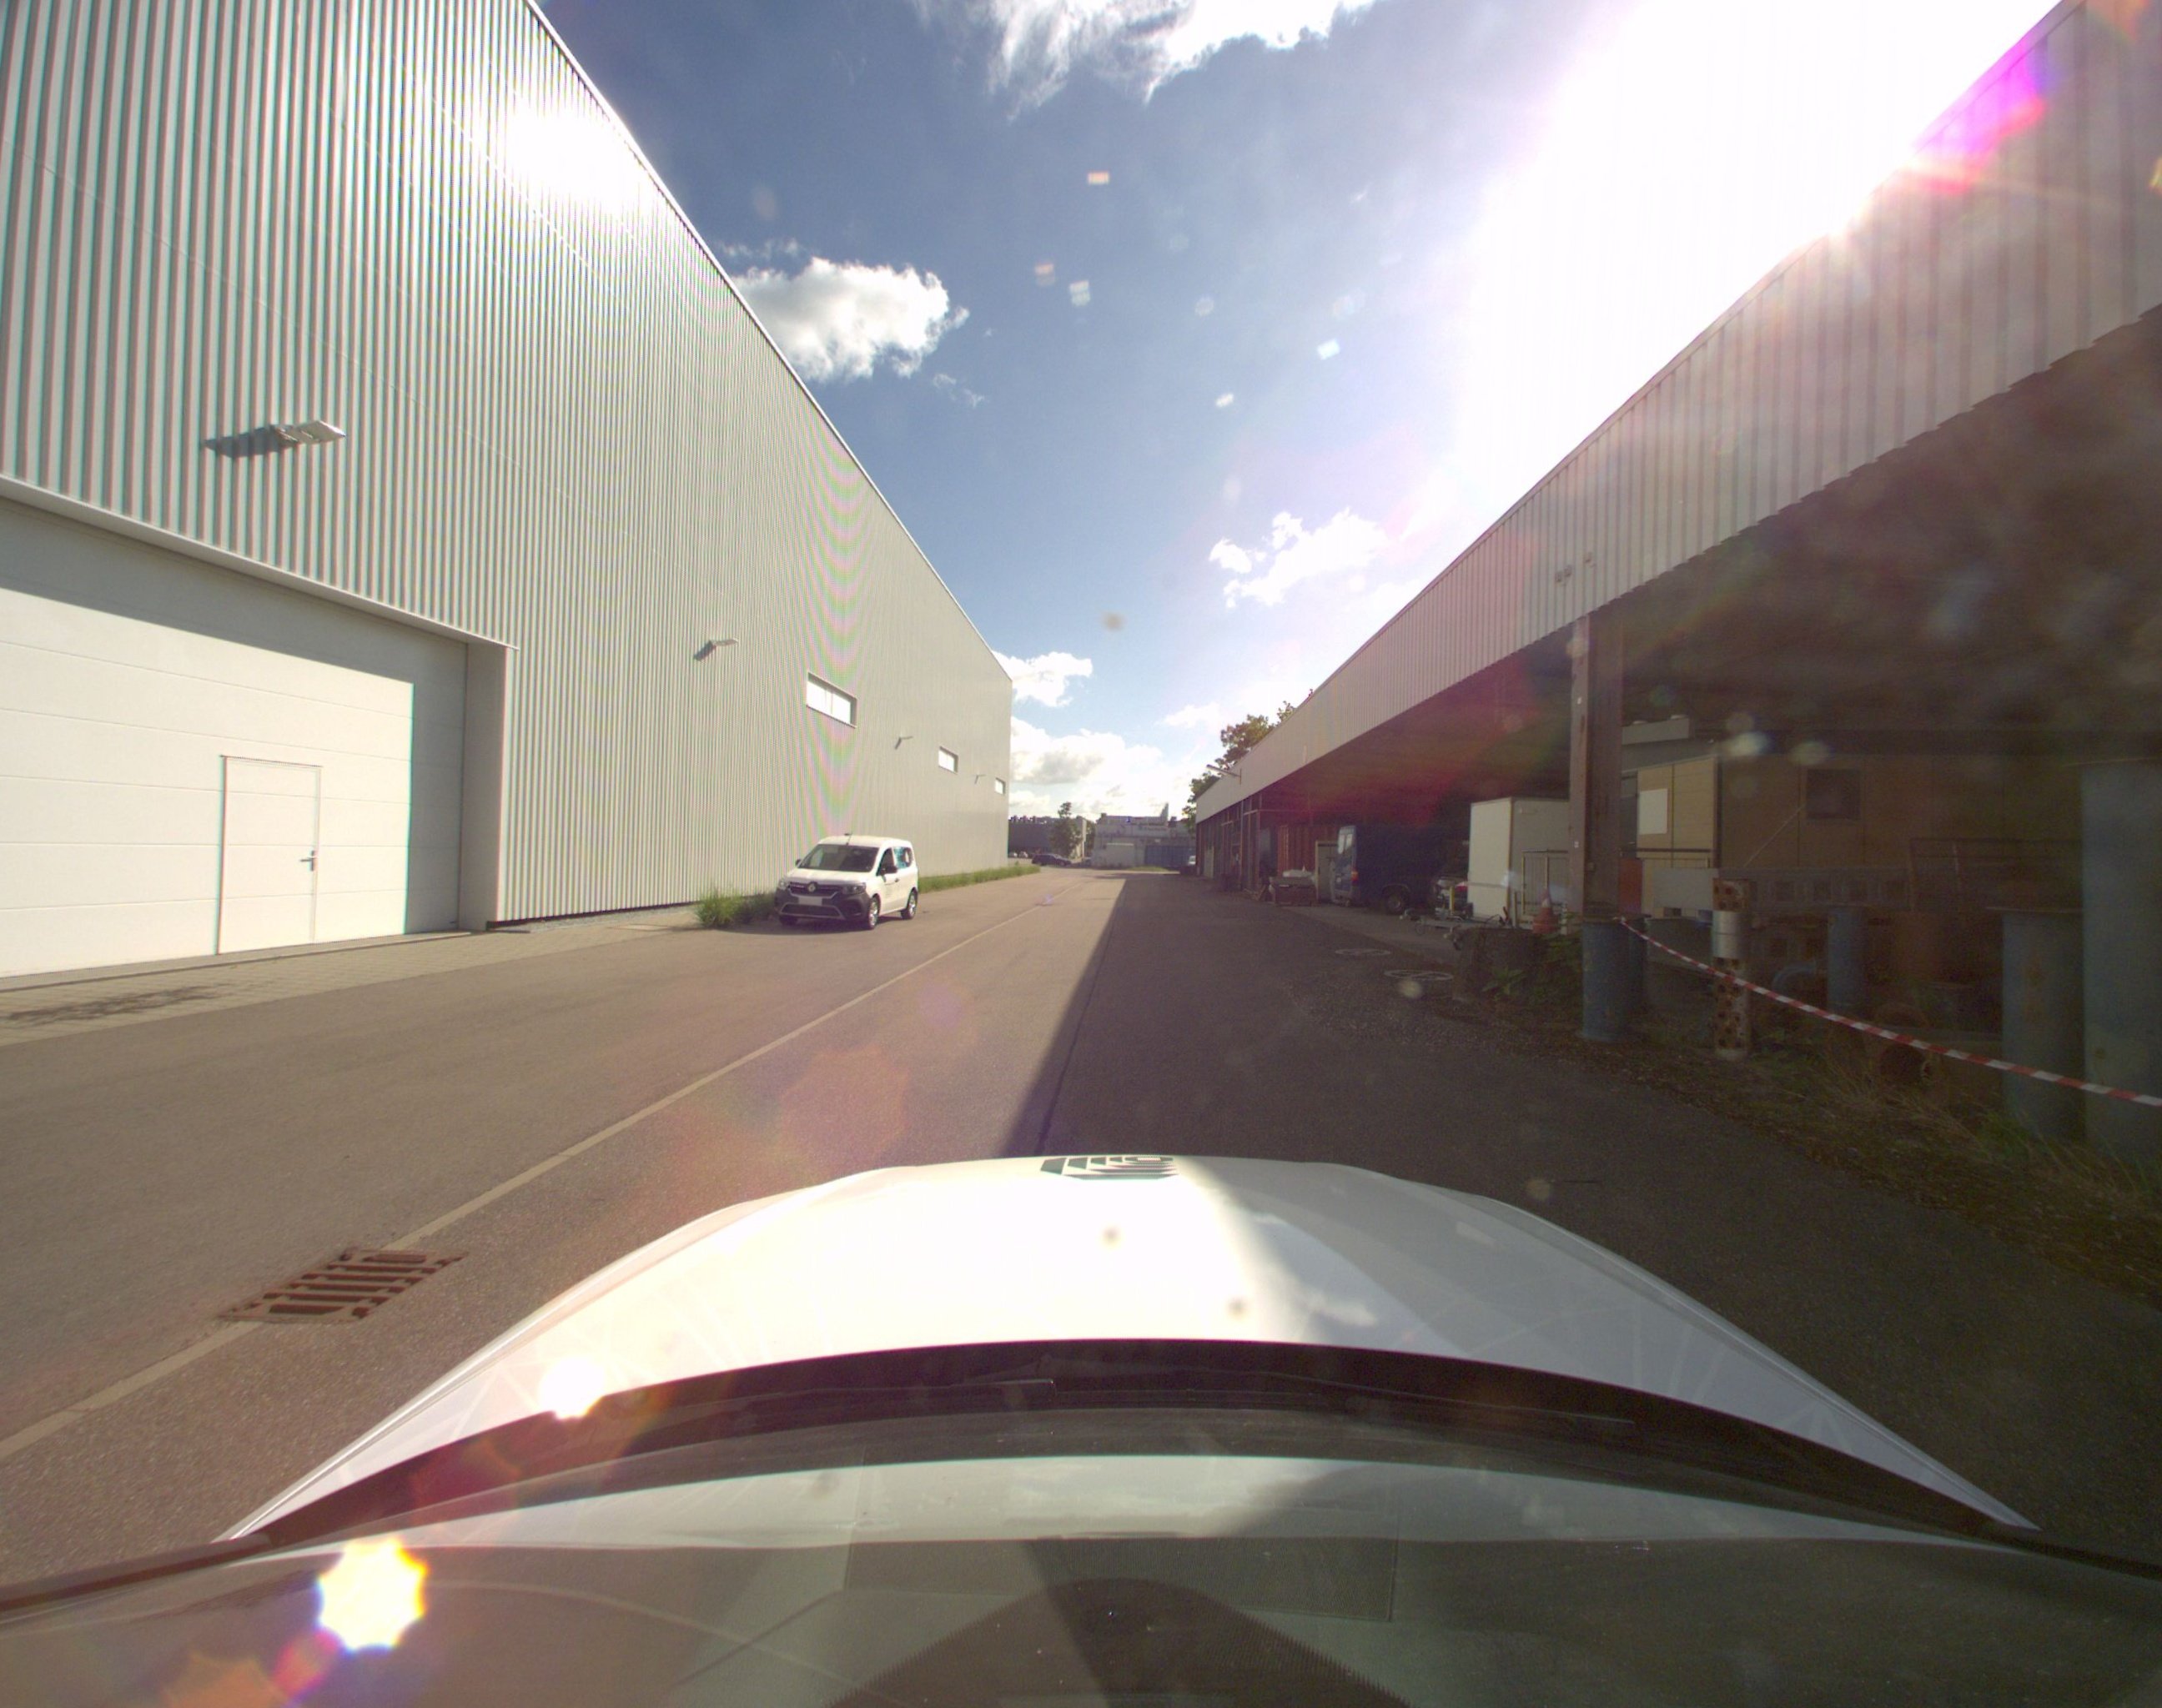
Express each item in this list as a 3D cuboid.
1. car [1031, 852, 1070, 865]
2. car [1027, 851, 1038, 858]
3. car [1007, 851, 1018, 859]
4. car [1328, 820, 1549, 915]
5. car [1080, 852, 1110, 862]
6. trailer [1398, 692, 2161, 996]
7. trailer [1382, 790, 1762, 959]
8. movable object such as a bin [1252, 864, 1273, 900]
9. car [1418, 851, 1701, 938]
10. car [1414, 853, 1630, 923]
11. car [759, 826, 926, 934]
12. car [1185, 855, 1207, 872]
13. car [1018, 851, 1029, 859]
[{"bbox_3d":[-3.675,0.581,99.205,4.504,1.508,1.911,0,0,5],"label":"car"},{"bbox_3d":[-11.573,0.165,195.233,2.184,1.736,4.003,-1,-1,3],"label":"car"},{"bbox_3d":[-16.599,0.283,196.855,1.985,1.736,4.003,-1,-1,3],"label":"car"},{"bbox_3d":[9.270,0.329,21.442,4.957,2.325,2.002,1,0,3],"label":"car"},{"bbox_3d":[2.234,0.437,126.567,4.505,1.508,1.911,1,0,4],"label":"car"},{"bbox_3d":[9.502,-0.119,10.129,9.995,3.216,2.856,0,0,3],"label":"trailer"},{"bbox_3d":[7.420,0.273,12.780,4.785,2.391,1.831,0,0,8],"label":"trailer"},{"bbox_3d":[6.080,0.911,27.291,0.578,1.164,1.241,0,0,8],"label":"movable object such as a bin"},{"bbox_3d":[8.866,0.720,15.354,4.313,1.496,1.777,0,0,1],"label":"car"},{"bbox_3d":[9.876,0.739,18.439,3.975,1.472,1.787,0,0,-1],"label":"car"},{"bbox_3d":[-4.730,0.472,16.901,1.882,1.845,4.362,3,0,3],"label":"car"},{"bbox_3d":[12.057,0.935,85.627,1.985,1.585,4.176,1,1,3],"label":"car"},{"bbox_3d":[-14.005,0.231,197.069,2.184,1.736,4.003,-1,-1,3],"label":"car"}]
